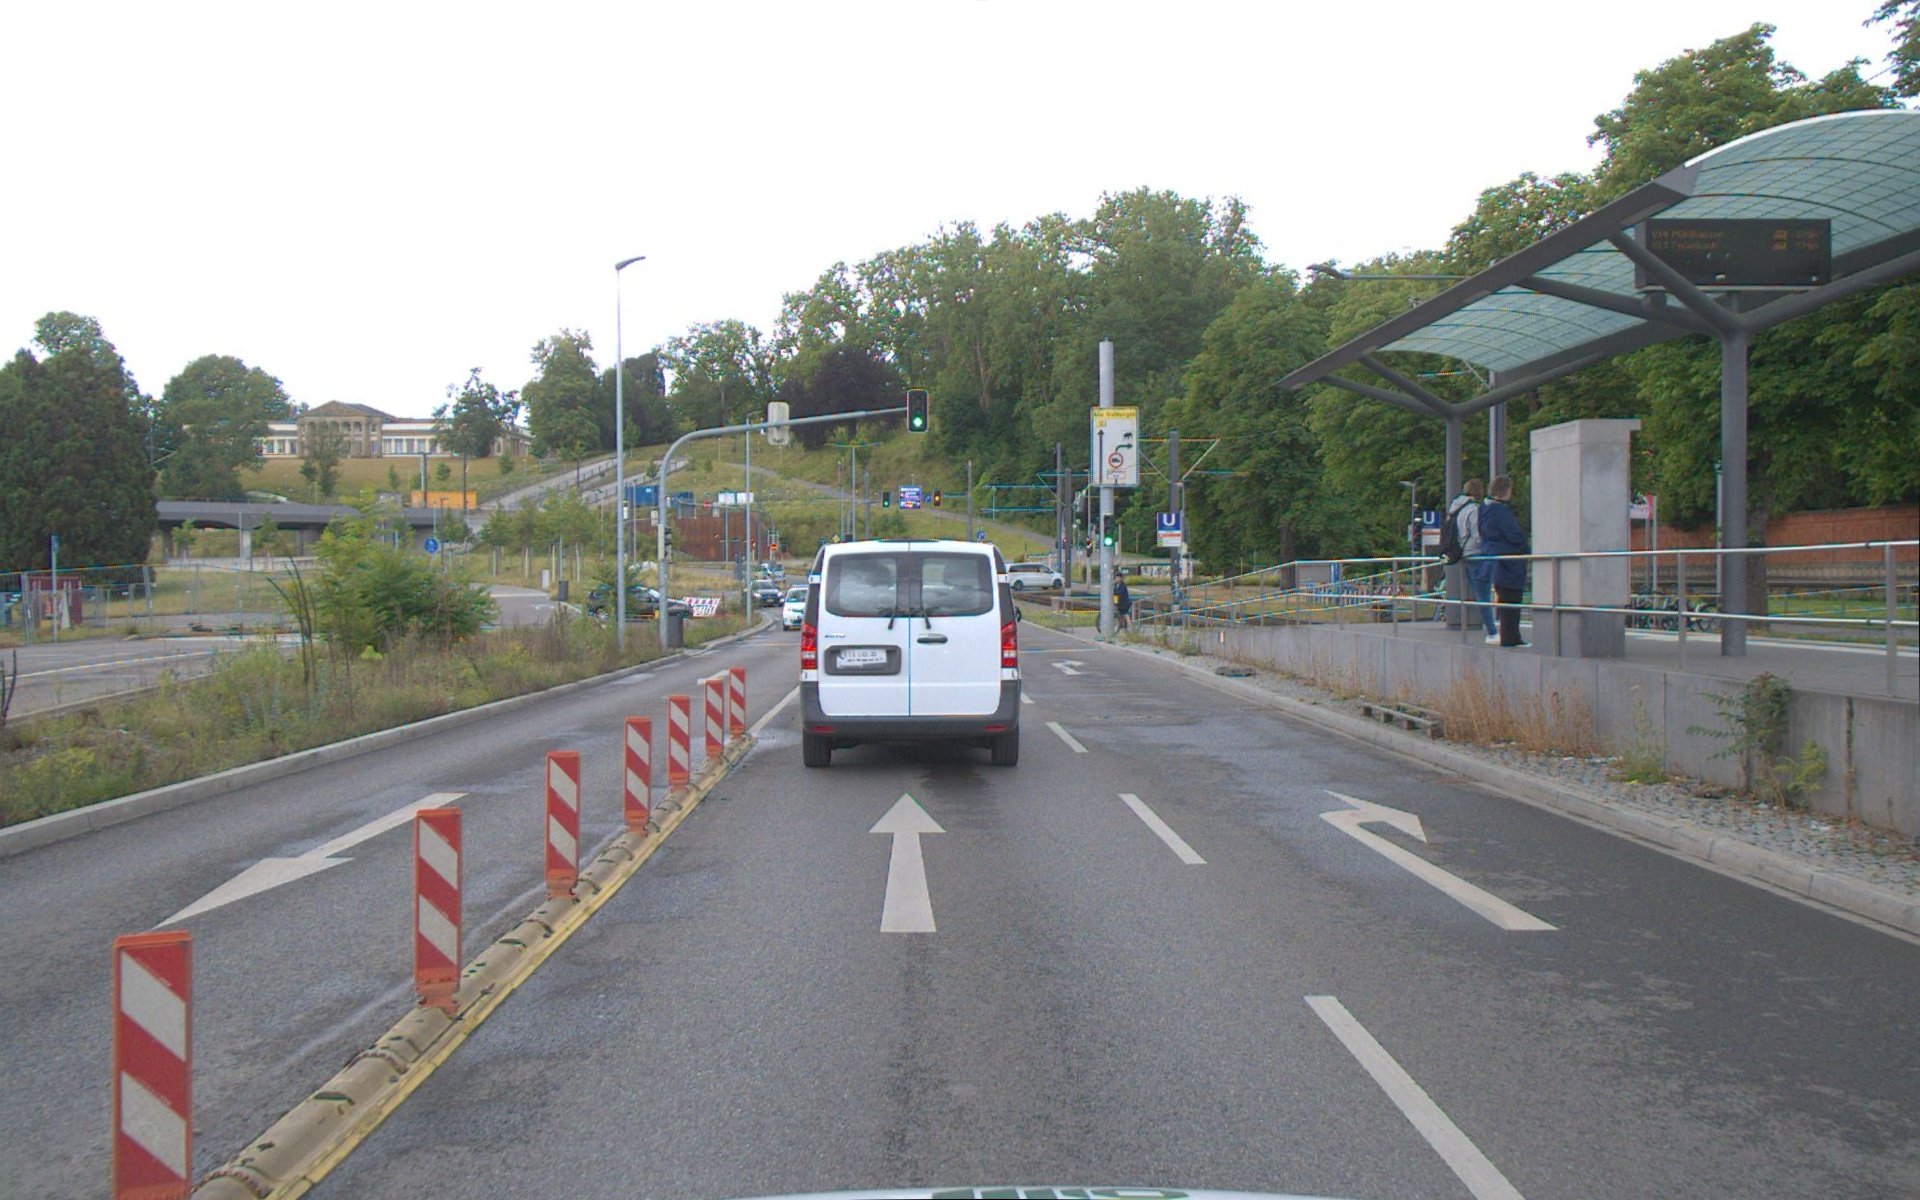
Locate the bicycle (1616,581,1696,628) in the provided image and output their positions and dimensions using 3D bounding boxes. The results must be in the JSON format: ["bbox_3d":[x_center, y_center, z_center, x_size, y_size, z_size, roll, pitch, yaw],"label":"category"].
[{"bbox_3d":[18.190,0.122,43.237,1.835,1.159,0.532,2,0,-2],"label":"bicycle"}]

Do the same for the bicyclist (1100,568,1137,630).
[{"bbox_3d":[4.202,-0.034,43.877,0.799,1.599,0.609,-2,2,-42],"label":"bicyclist"}]

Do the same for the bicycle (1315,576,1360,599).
[{"bbox_3d":[16.943,-0.558,74.289,1.873,0.992,0.530,-1,1,-2],"label":"bicycle"}]

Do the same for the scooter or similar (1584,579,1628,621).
[{"bbox_3d":[18.614,0.005,47.641,1.139,1.159,0.333,2,0,22],"label":"scooter or similar"}]

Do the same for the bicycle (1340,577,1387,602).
[{"bbox_3d":[17.184,-0.452,70.464,1.873,0.992,0.530,-1,1,-2],"label":"bicycle"}]

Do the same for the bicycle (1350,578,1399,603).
[{"bbox_3d":[17.240,-0.389,68.785,1.873,0.992,0.530,-1,1,-2],"label":"bicycle"}]

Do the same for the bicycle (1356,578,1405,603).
[{"bbox_3d":[17.311,-0.382,68.140,1.873,0.992,0.530,-1,1,-2],"label":"bicycle"}]

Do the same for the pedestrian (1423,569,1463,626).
[{"bbox_3d":[14.325,-0.075,49.025,0.821,1.637,0.772,-2,1,-24],"label":"pedestrian"}]

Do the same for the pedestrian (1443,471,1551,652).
[{"bbox_3d":[5.292,-0.385,16.337,0.755,1.728,0.731,2,2,-1],"label":"pedestrian"}]

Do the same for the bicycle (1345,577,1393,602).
[{"bbox_3d":[17.242,-0.449,69.725,1.873,0.992,0.530,-1,1,-2],"label":"bicycle"}]

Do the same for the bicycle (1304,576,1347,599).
[{"bbox_3d":[16.796,-0.563,75.993,1.873,0.992,0.530,-1,1,-2],"label":"bicycle"}]

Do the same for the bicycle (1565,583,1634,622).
[{"bbox_3d":[17.999,0.068,46.537,1.728,1.052,0.483,2,0,-2],"label":"bicycle"}]

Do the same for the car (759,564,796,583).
[{"bbox_3d":[-16.196,-2.371,146.296,1.916,1.655,3.962,0,1,-29],"label":"car"}]

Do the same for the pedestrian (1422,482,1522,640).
[{"bbox_3d":[5.296,-0.412,17.157,0.735,1.580,0.775,2,2,-1],"label":"pedestrian"}]

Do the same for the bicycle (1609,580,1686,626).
[{"bbox_3d":[18.407,0.083,44.281,1.835,1.159,0.532,2,0,-2],"label":"bicycle"}]

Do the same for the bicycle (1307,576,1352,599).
[{"bbox_3d":[16.753,-0.557,75.010,1.873,0.992,0.530,-1,1,-2],"label":"bicycle"}]

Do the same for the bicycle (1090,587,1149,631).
[{"bbox_3d":[4.235,0.234,43.914,1.670,1.092,0.611,-2,3,-42],"label":"bicycle"}]

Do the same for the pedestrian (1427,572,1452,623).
[{"bbox_3d":[14.605,-0.071,50.367,0.490,1.528,0.512,-2,0,-24],"label":"pedestrian"}]

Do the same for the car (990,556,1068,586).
[{"bbox_3d":[4.845,-1.990,115.457,5.077,2.049,2.187,0,1,-29],"label":"car"}]

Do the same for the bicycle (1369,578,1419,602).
[{"bbox_3d":[17.598,-0.405,67.037,1.873,0.911,0.530,-1,1,-2],"label":"bicycle"}]

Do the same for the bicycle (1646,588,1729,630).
[{"bbox_3d":[18.329,0.227,41.680,1.835,0.980,0.532,2,0,-2],"label":"bicycle"}]

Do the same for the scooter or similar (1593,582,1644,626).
[{"bbox_3d":[18.125,0.103,45.539,1.248,1.159,0.333,2,0,5],"label":"scooter or similar"}]

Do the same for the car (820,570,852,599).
[{"bbox_3d":[-7.129,-0.872,95.338,1.695,1.555,4.443,-2,0,-3],"label":"car"}]

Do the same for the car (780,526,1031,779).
[{"bbox_3d":[-0.382,0.386,15.129,1.919,1.937,4.462,1,1,1],"label":"car"}]

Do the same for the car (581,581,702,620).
[{"bbox_3d":[-13.478,0.016,70.205,4.609,1.503,2.002,-1,2,8],"label":"car"}]

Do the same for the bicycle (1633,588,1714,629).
[{"bbox_3d":[18.284,0.210,42.404,1.835,0.980,0.532,2,0,-2],"label":"bicycle"}]

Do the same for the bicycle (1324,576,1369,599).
[{"bbox_3d":[17.159,-0.556,73.482,1.873,0.992,0.530,-1,1,-2],"label":"bicycle"}]

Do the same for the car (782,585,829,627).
[{"bbox_3d":[-5.860,0.214,63.006,1.559,1.544,4.083,-1,0,-3],"label":"car"}]
